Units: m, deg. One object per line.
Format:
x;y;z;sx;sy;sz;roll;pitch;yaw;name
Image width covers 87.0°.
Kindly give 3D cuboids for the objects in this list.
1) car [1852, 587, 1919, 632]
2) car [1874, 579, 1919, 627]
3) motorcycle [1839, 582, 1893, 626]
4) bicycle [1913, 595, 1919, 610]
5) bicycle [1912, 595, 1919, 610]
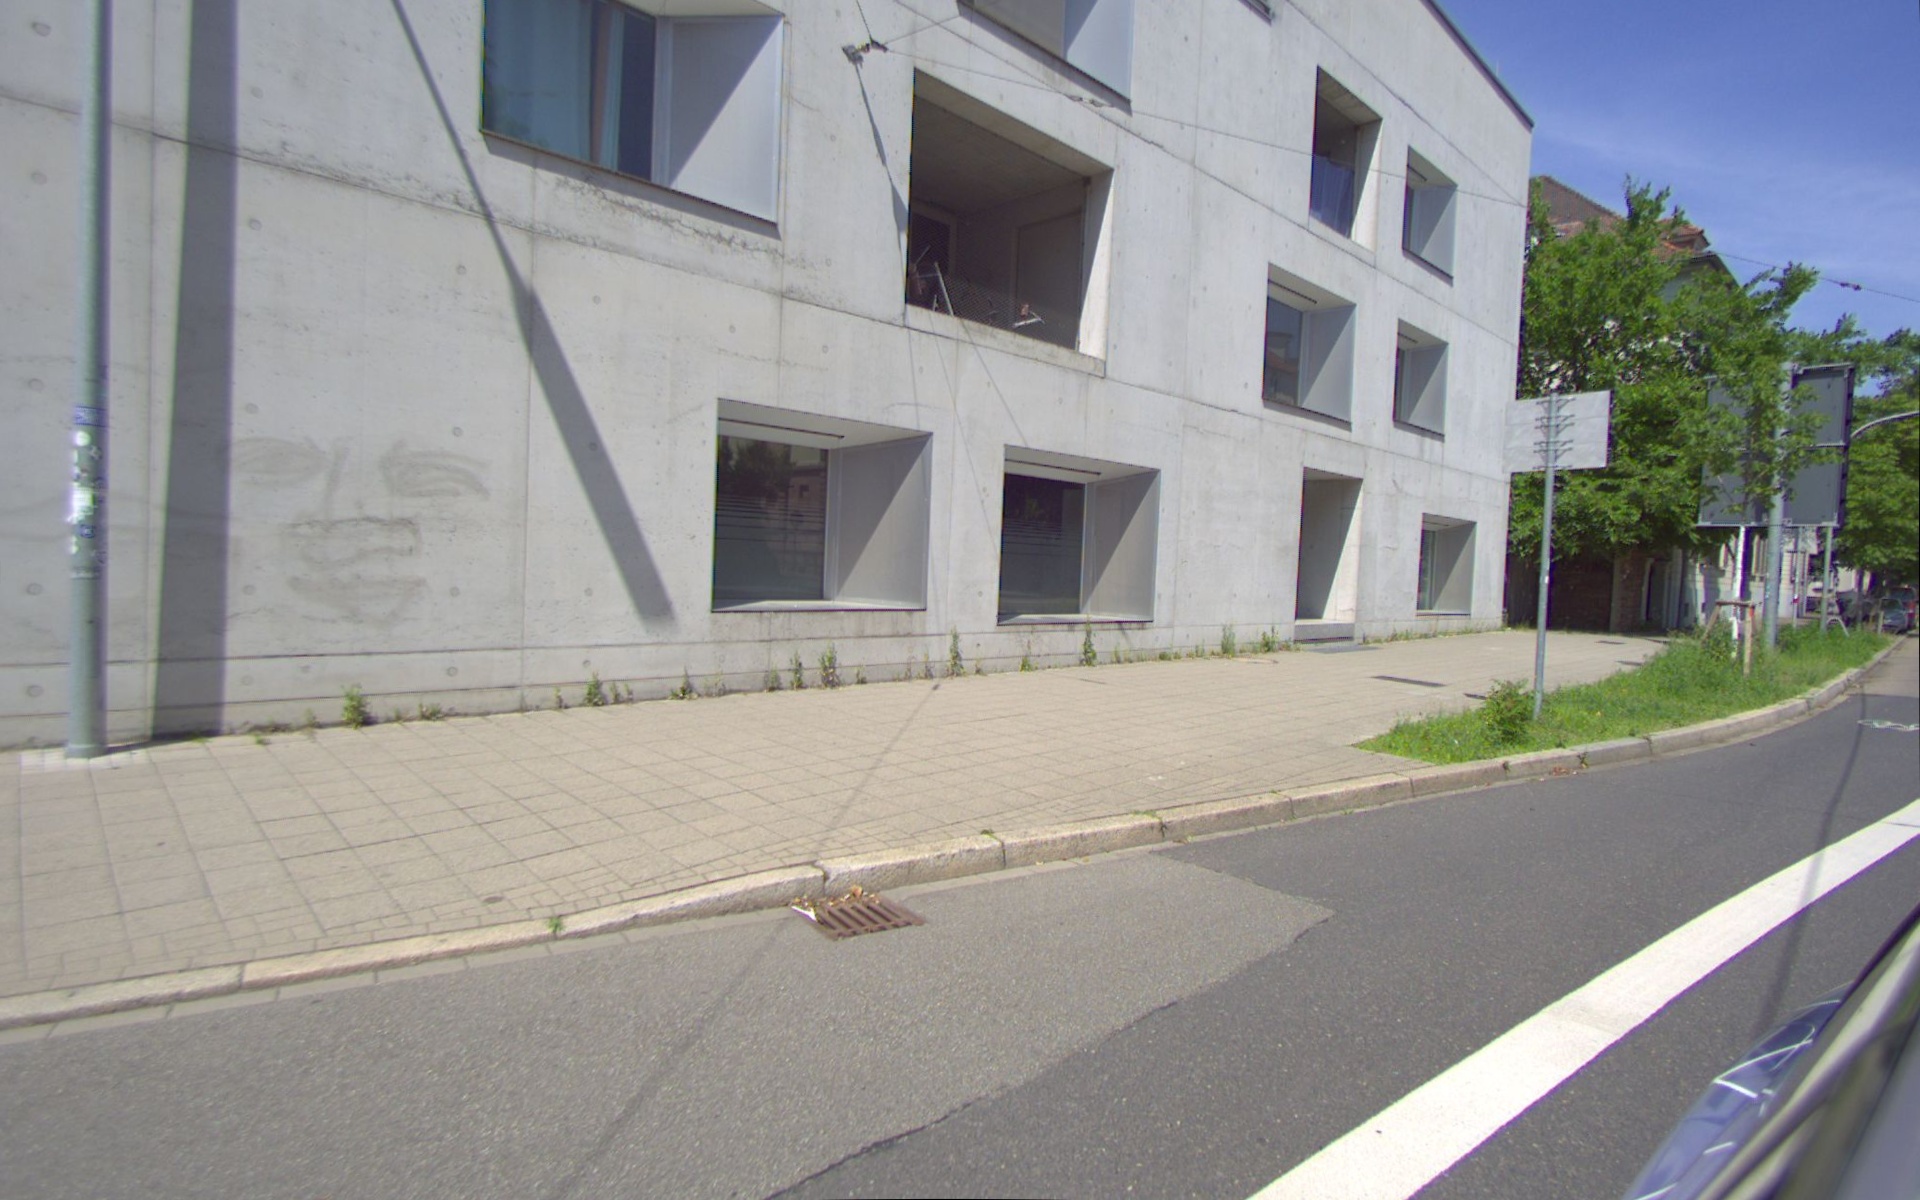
37.841;0.336;41.233;4.798;1.596;1.862;-1;4;-44;car
43.957;0.083;47.007;4.894;2.038;1.862;-1;4;-44;car
32.653;0.152;36.478;2.509;1.524;0.748;1;3;-33;motorcycle
81.509;0.238;84.994;0.437;1.215;2.042;0;3;-34;bicycle
81.123;0.225;84.675;0.437;1.215;2.042;1;3;-34;bicycle
